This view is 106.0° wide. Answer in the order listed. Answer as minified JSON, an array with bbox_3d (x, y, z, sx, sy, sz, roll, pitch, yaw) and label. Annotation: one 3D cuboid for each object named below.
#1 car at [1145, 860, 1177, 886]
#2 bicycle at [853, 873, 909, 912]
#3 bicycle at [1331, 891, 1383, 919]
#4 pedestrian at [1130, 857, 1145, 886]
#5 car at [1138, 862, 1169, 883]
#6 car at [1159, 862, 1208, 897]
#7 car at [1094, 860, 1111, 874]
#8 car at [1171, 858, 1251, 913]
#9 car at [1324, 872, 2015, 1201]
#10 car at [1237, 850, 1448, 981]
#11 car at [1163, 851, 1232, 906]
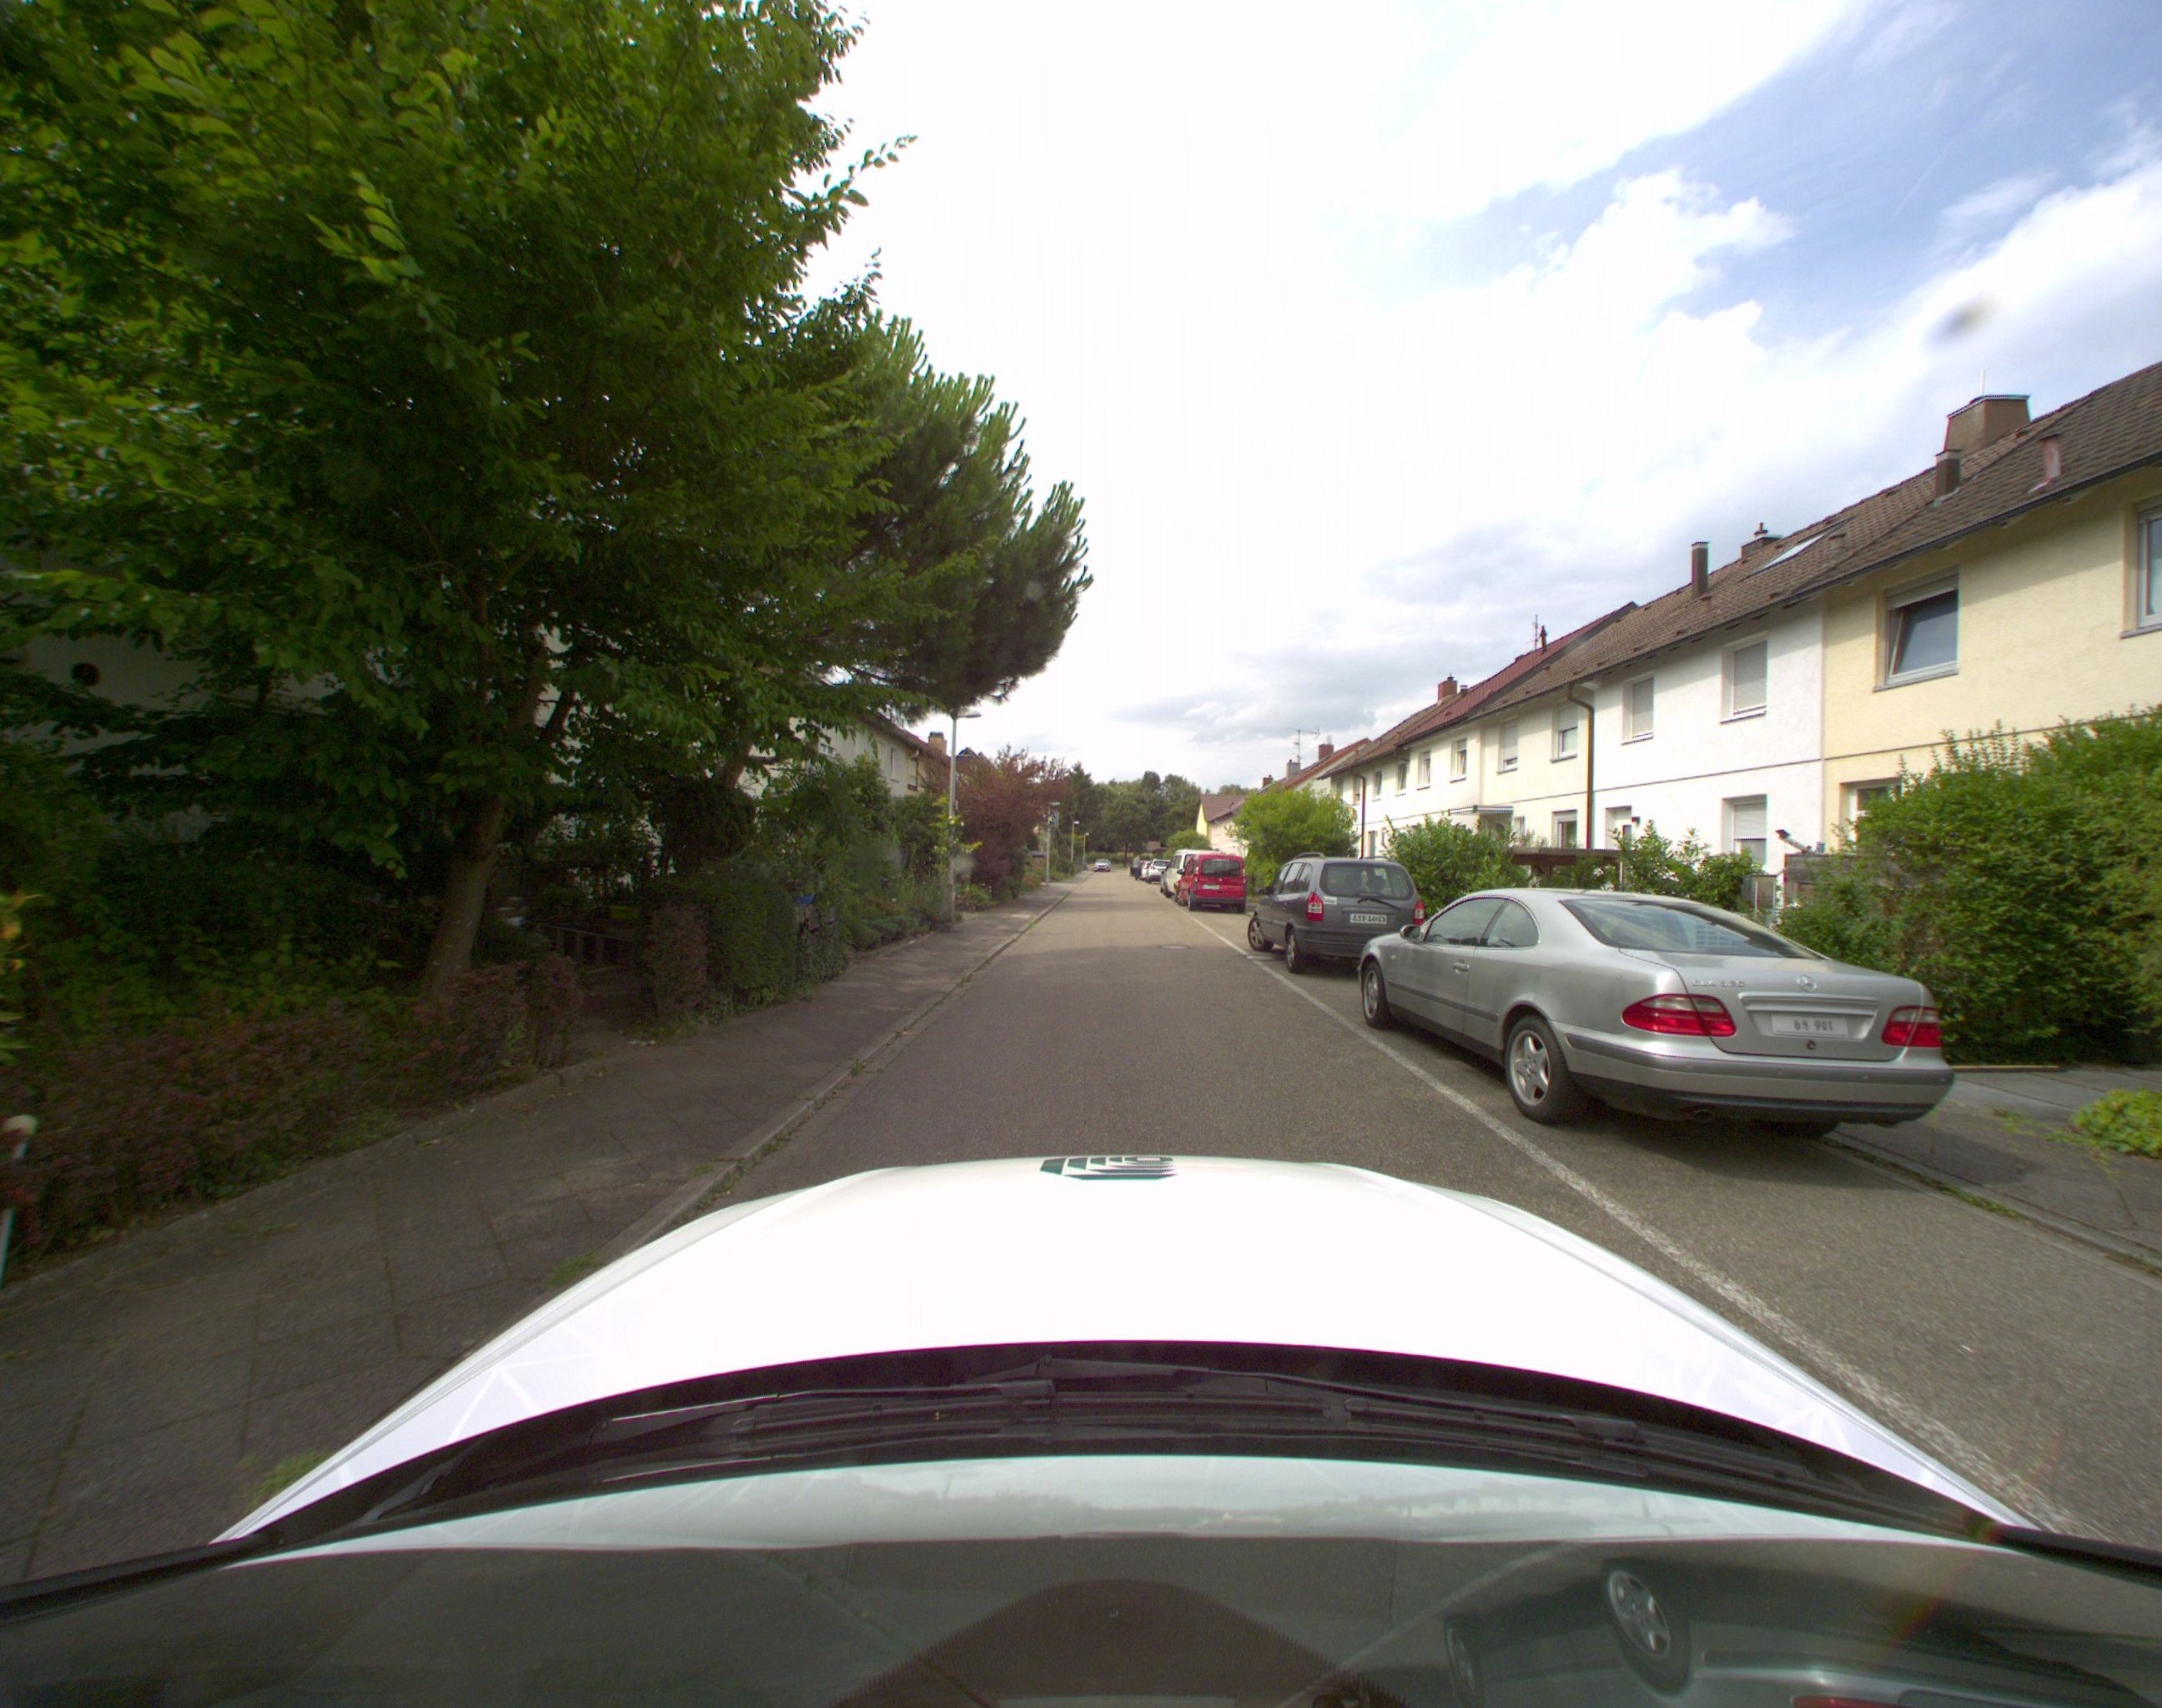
[{"bbox_3d":[5.027,1.166,51.534,1.707,1.544,3.976,3,0,2],"label":"car"},{"bbox_3d":[-5.114,0.971,20.755,1.681,0.893,0.532,1,0,43],"label":"bicycle"},{"bbox_3d":[9.052,1.658,26.691,1.596,0.866,0.739,1,-1,-30],"label":"bicycle"},{"bbox_3d":[4.072,1.263,58.779,0.909,2.014,0.950,3,-1,-1],"label":"pedestrian"},{"bbox_3d":[5.229,1.292,59.109,1.832,1.413,4.635,1,0,-1],"label":"car"},{"bbox_3d":[4.584,1.099,37.009,1.893,1.460,4.132,1,0,3],"label":"car"},{"bbox_3d":[2.563,1.484,96.468,1.926,1.556,4.637,1,0,3],"label":"car"},{"bbox_3d":[4.192,0.972,26.909,1.805,1.651,4.408,1,0,-1],"label":"car"},{"bbox_3d":[3.551,0.929,6.298,1.862,1.407,4.766,3,0,0],"label":"car"},{"bbox_3d":[3.806,0.804,12.739,1.861,1.653,4.463,1,0,0],"label":"car"},{"bbox_3d":[4.456,0.897,31.907,2.014,1.947,4.747,1,0,0],"label":"car"}]
